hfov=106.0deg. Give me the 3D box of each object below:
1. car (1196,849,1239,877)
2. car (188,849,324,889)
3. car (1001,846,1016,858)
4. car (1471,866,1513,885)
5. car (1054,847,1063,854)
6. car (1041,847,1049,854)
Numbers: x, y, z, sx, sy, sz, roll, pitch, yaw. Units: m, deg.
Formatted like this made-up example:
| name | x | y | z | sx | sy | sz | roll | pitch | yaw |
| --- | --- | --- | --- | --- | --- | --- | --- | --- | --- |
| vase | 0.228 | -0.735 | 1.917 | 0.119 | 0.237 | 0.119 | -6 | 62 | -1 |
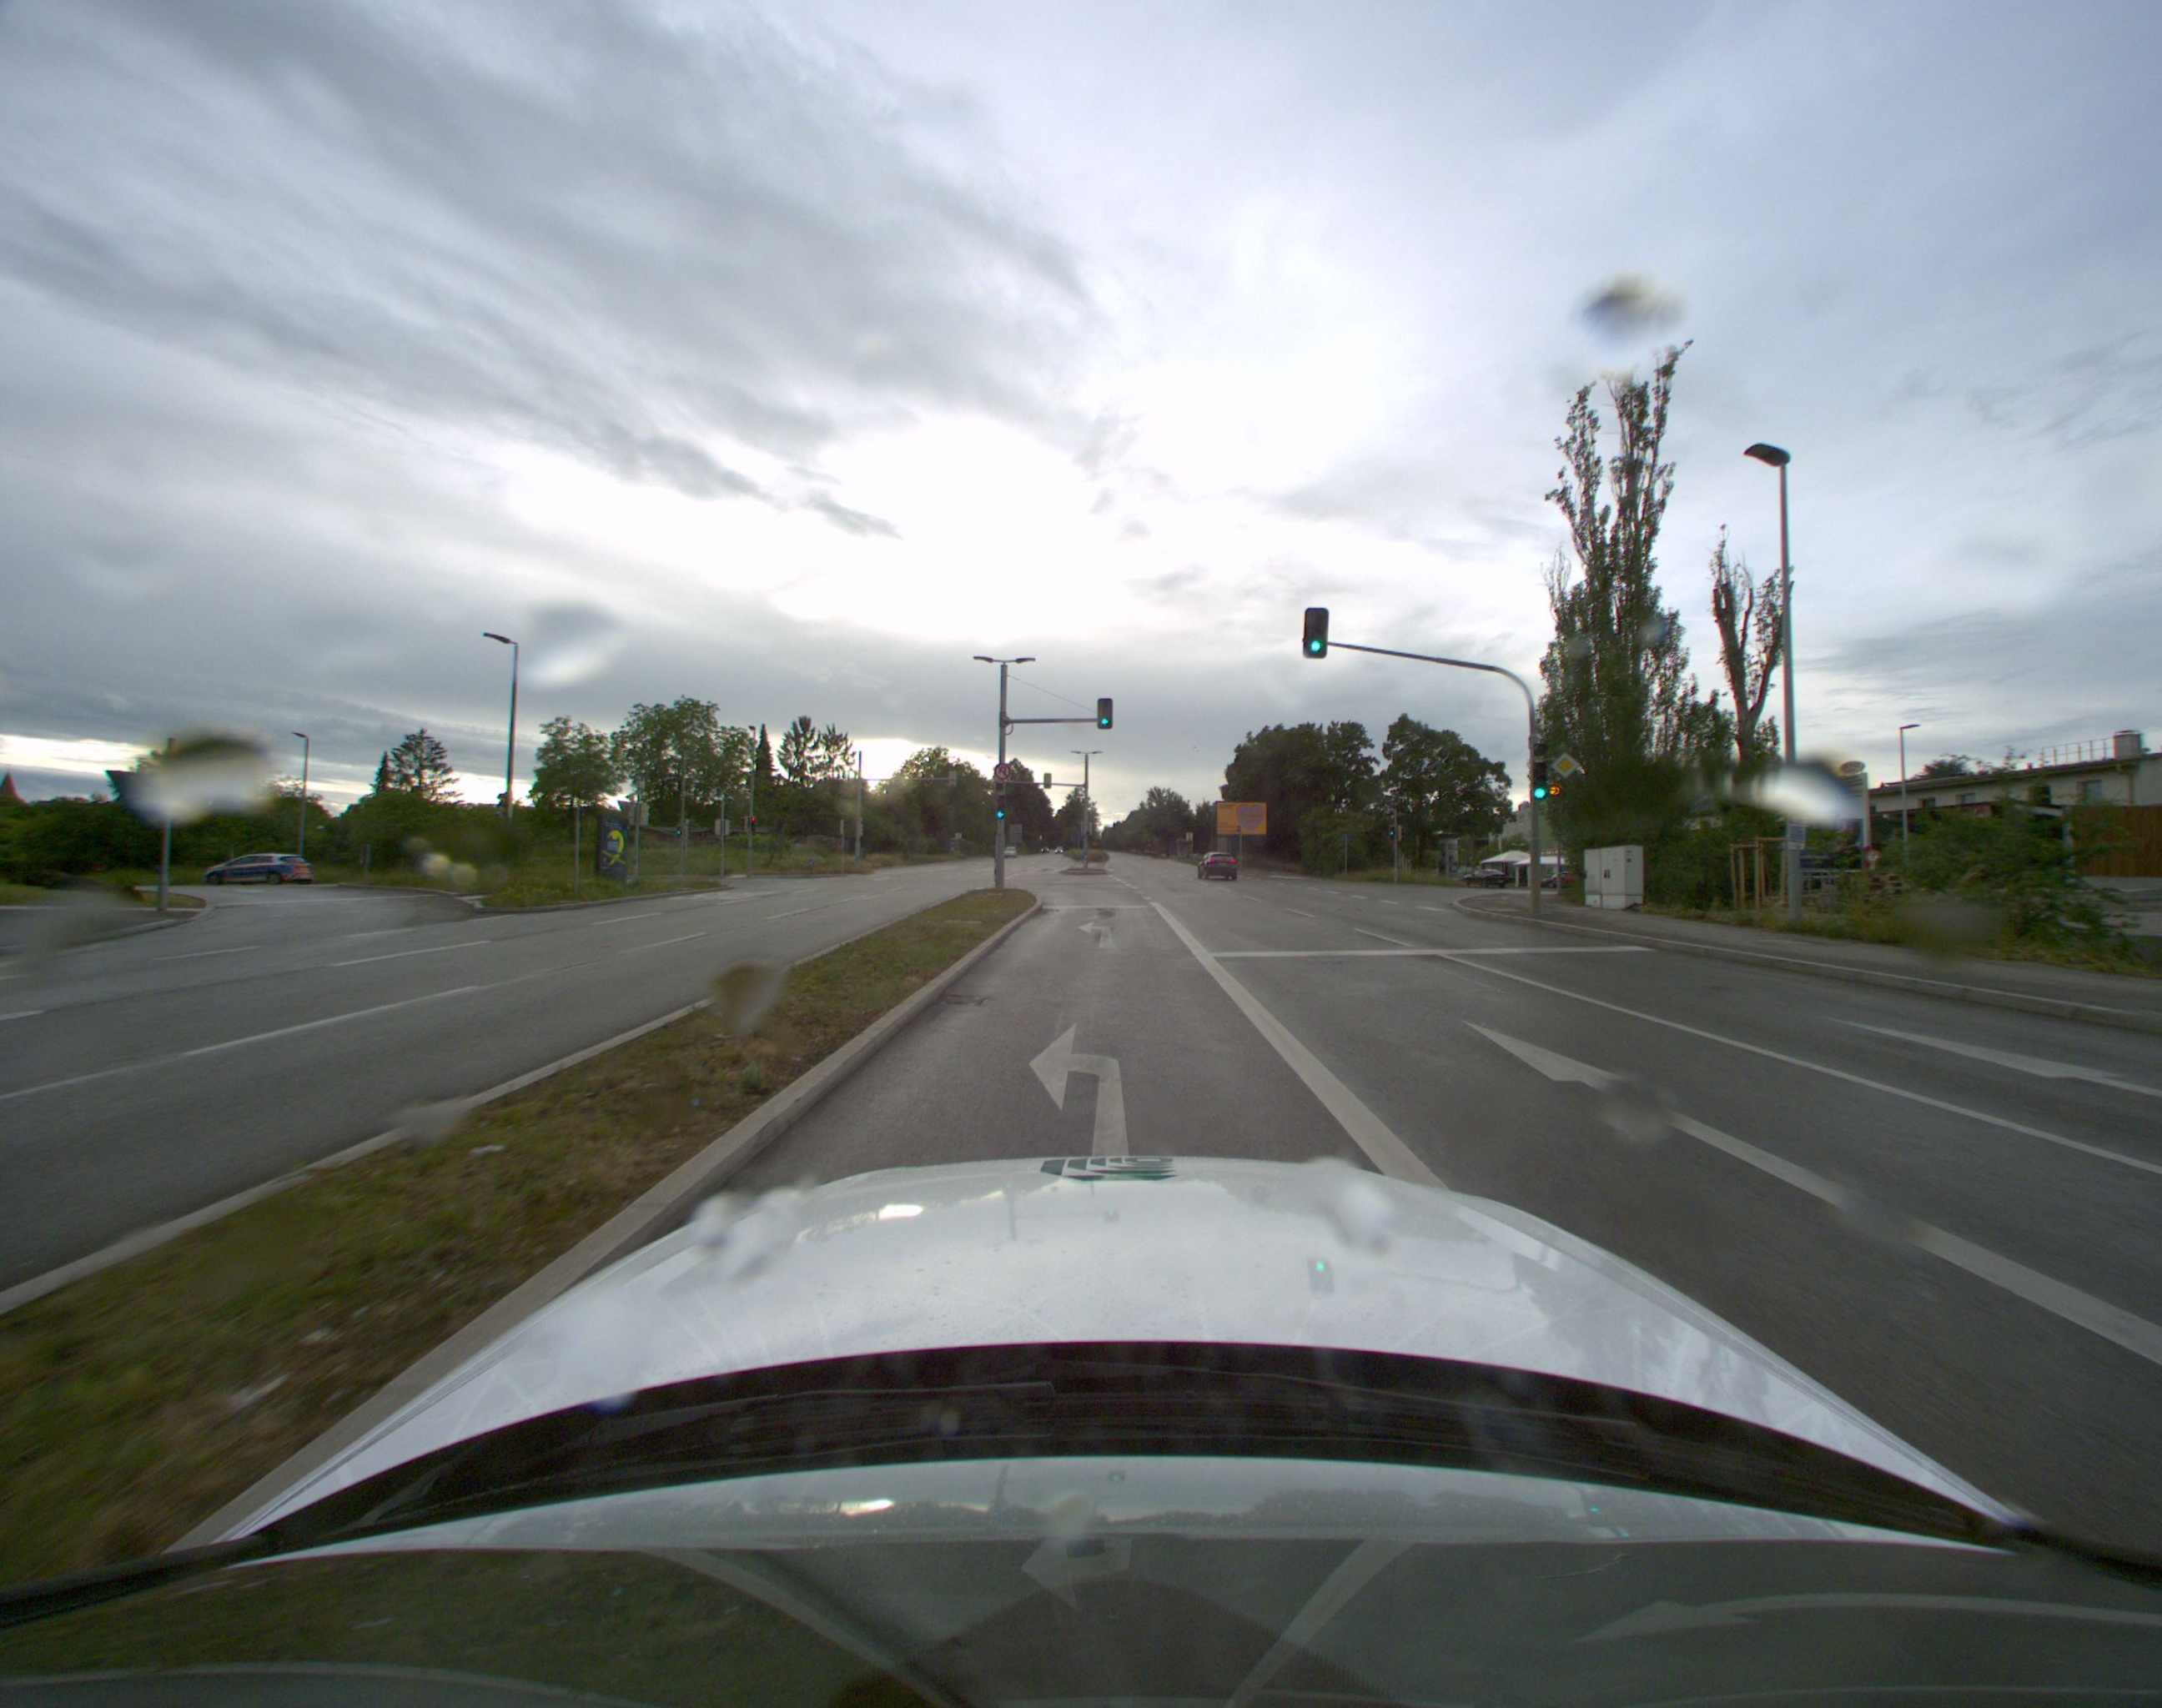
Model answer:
| name | x | y | z | sx | sy | sz | roll | pitch | yaw |
| --- | --- | --- | --- | --- | --- | --- | --- | --- | --- |
| car | 7.478 | 0.461 | 45.099 | 1.739 | 1.470 | 4.166 | 1 | 0 | 1 |
| car | -39.743 | 0.748 | 39.316 | 4.176 | 1.718 | 2.080 | 2 | -2 | -4 |
| car | -10.784 | -0.299 | 120.790 | 1.762 | 1.596 | 4.489 | 1 | 0 | 1 |
| car | 36.636 | 1.920 | 72.714 | 1.771 | 1.586 | 4.142 | 2 | -2 | 1 |
| car | -5.008 | -0.743 | 184.267 | 1.887 | 1.534 | 4.489 | 1 | 0 | 1 |
| car | -8.862 | -0.870 | 200.550 | 1.887 | 1.596 | 4.489 | 1 | 0 | 1 |
